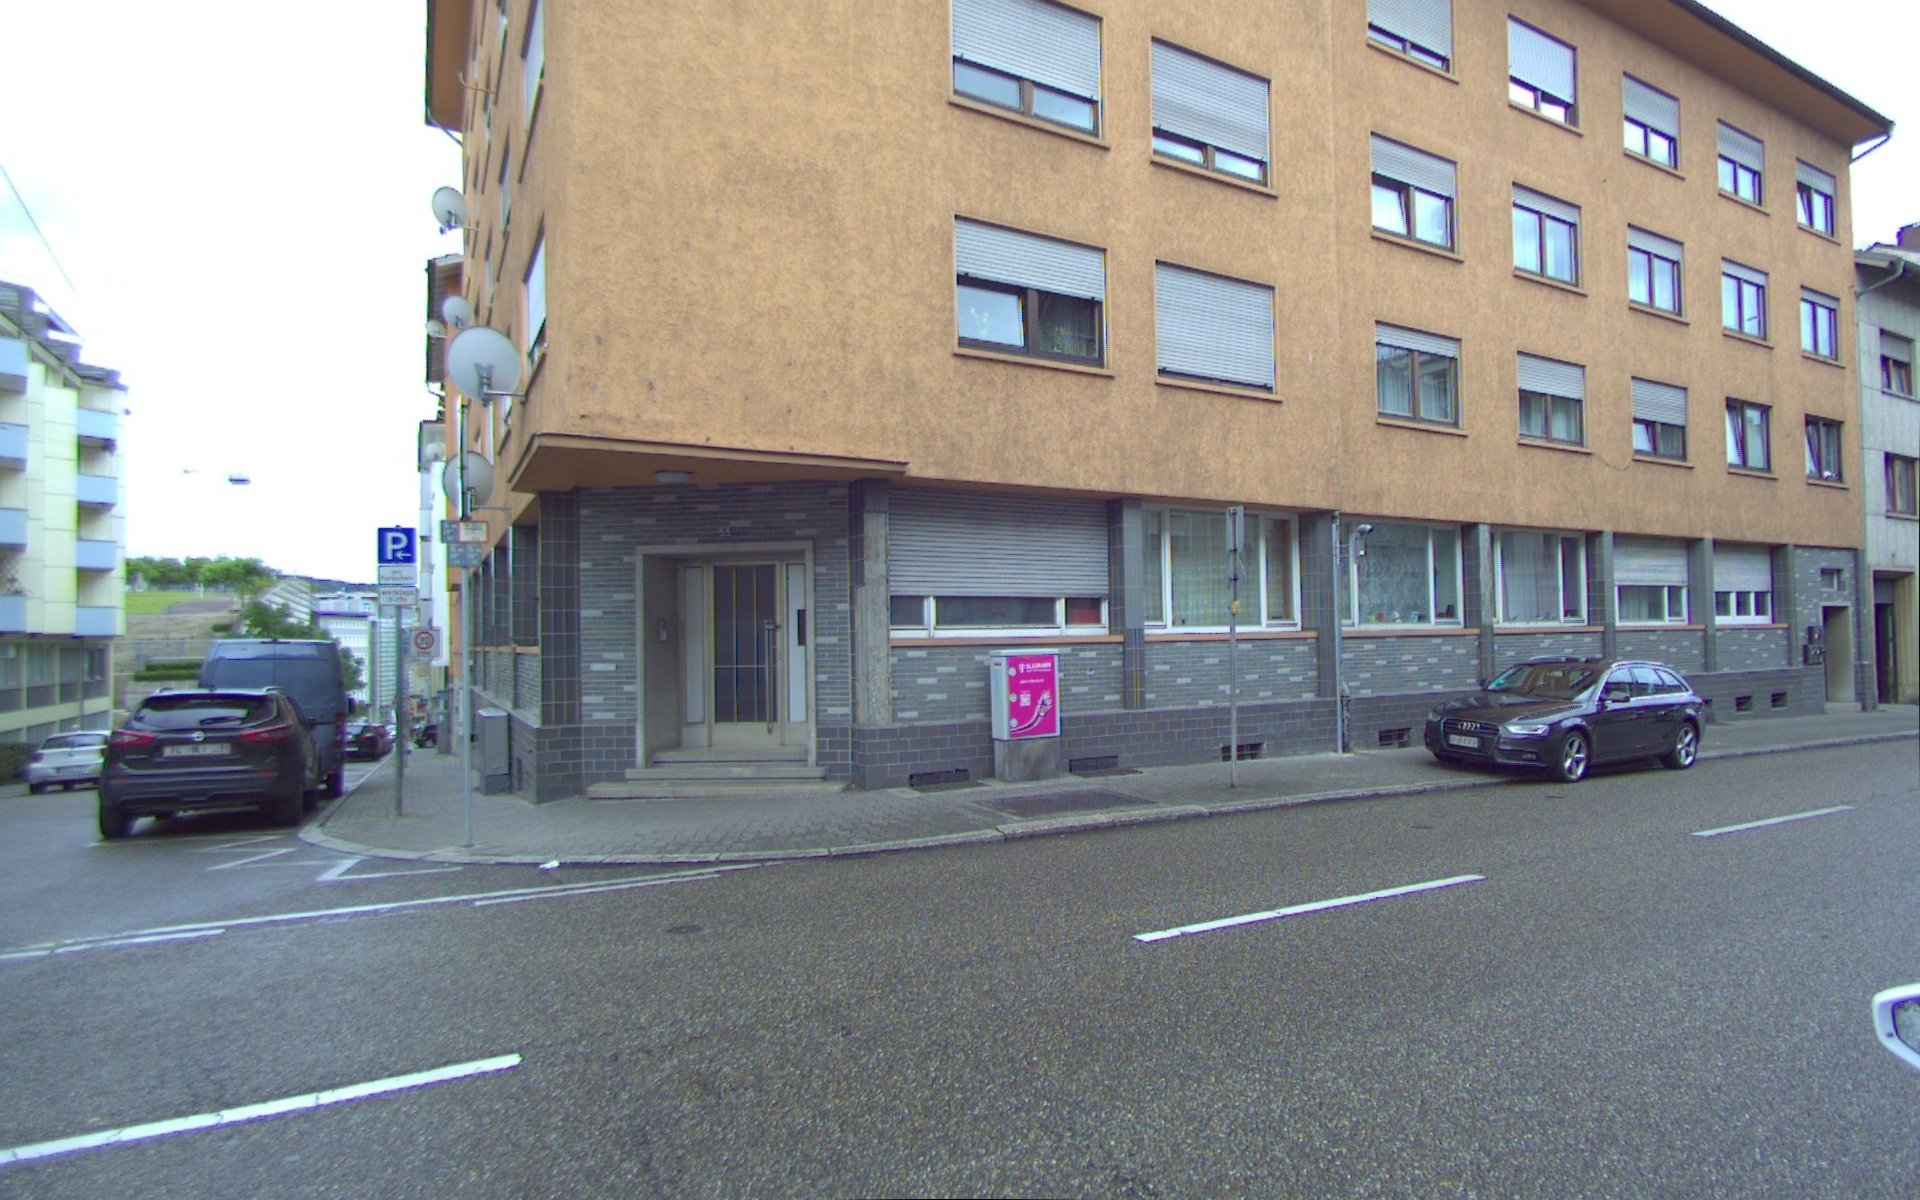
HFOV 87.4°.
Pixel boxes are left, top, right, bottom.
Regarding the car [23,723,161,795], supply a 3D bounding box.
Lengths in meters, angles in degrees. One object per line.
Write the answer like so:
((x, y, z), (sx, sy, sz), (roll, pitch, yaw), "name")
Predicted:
((-21.907, 3.977, 25.531), (1.819, 1.566, 3.973), (1, -7, -29), "car")

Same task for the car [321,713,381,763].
((-23.126, 5.243, 38.254), (1.796, 1.696, 4.026), (1, -7, -29), "car")

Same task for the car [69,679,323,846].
((-8.930, 1.884, 12.130), (1.820, 1.596, 4.127), (1, -8, -29), "car")

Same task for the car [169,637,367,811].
((-11.839, 2.129, 17.652), (2.223, 2.492, 6.017), (1, -7, -29), "car")

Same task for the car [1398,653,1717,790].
((8.132, 1.510, 13.569), (4.474, 1.457, 1.786), (1, 0, -31), "car")

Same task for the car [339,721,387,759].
((-26.830, 6.301, 45.252), (1.702, 1.513, 4.026), (1, -7, -29), "car")
